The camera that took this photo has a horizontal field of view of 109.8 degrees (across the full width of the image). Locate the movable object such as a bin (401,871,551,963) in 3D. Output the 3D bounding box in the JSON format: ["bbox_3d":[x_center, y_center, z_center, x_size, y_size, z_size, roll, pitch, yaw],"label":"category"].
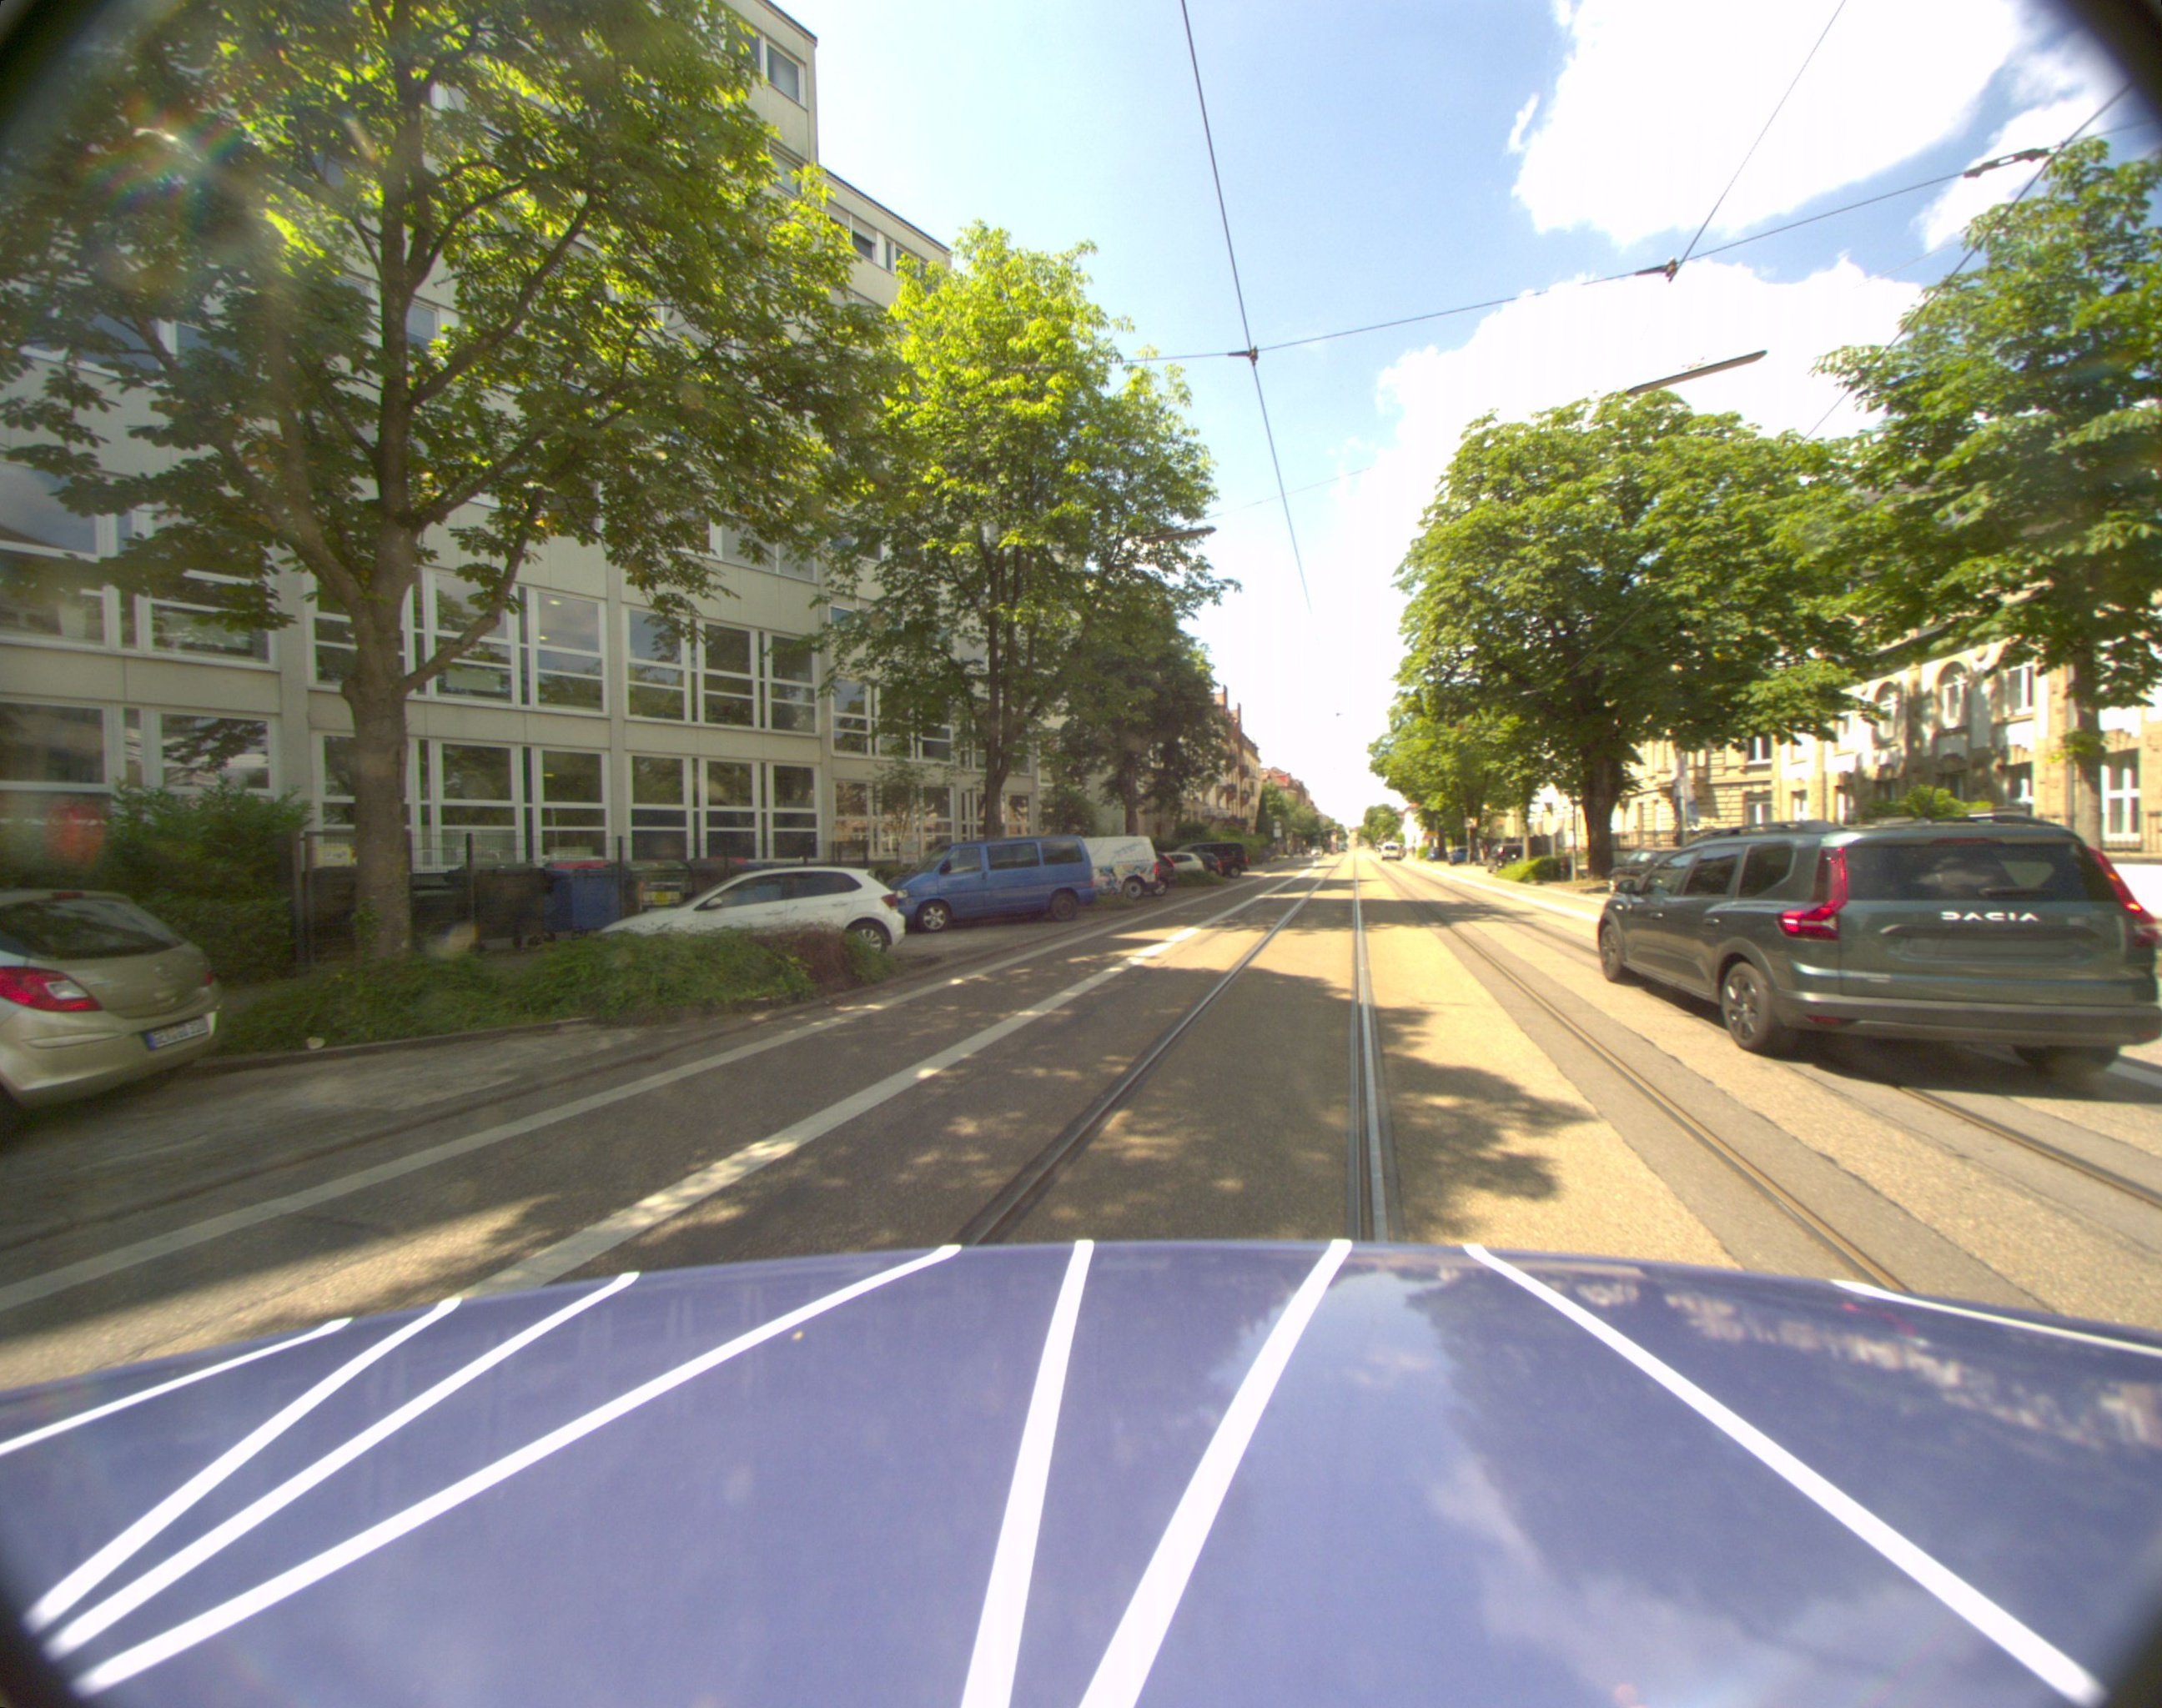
[{"bbox_3d":[-9.639,0.969,12.168,1.124,1.323,1.454,-2,1,21],"label":"movable object such as a bin"}]

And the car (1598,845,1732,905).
[{"bbox_3d":[15.822,0.530,20.837,1.948,1.435,3.778,-2,1,22],"label":"car"}]

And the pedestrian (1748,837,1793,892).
[{"bbox_3d":[19.826,0.291,21.858,0.696,1.558,0.745,-1,1,18],"label":"pedestrian"}]

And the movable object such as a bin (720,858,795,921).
[{"bbox_3d":[-7.583,0.823,17.870,1.035,1.390,1.184,-1,1,28],"label":"movable object such as a bin"}]

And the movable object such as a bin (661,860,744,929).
[{"bbox_3d":[-8.187,0.854,16.460,1.035,1.390,1.184,-1,1,28],"label":"movable object such as a bin"}]

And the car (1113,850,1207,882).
[{"bbox_3d":[3.687,0.544,35.327,4.006,1.379,1.746,1,2,-27],"label":"car"}]

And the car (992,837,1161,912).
[{"bbox_3d":[-0.165,0.546,22.748,4.634,2.002,1.997,-2,1,-18],"label":"car"}]

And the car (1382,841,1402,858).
[{"bbox_3d":[32.001,-0.457,78.233,1.674,1.709,4.005,-1,1,20],"label":"car"}]

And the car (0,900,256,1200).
[{"bbox_3d":[-7.334,1.106,4.046,3.545,1.454,1.750,-2,1,-27],"label":"car"}]

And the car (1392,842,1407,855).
[{"bbox_3d":[44.095,-0.734,105.291,1.760,1.709,4.005,-1,1,20],"label":"car"}]

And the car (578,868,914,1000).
[{"bbox_3d":[-4.558,0.982,10.684,3.986,1.405,1.711,-2,1,-27],"label":"car"}]

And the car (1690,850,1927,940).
[{"bbox_3d":[13.673,0.676,14.648,1.880,1.410,4.156,-2,1,22],"label":"car"}]

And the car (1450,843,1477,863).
[{"bbox_3d":[29.983,-0.103,59.596,1.808,1.470,4.006,-2,1,26],"label":"car"}]

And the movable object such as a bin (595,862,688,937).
[{"bbox_3d":[-8.741,0.882,15.152,1.035,1.390,1.184,-1,1,28],"label":"movable object such as a bin"}]

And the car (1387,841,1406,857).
[{"bbox_3d":[35.040,-0.538,84.400,1.760,1.709,4.005,-1,1,20],"label":"car"}]

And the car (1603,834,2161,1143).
[{"bbox_3d":[5.782,0.701,6.122,1.603,1.642,4.006,0,1,19],"label":"car"}]

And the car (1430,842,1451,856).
[{"bbox_3d":[39.437,-0.519,83.430,1.834,1.477,4.006,-1,1,21],"label":"car"}]

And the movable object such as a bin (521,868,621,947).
[{"bbox_3d":[-9.157,0.942,13.671,0.969,1.323,1.078,-2,1,21],"label":"movable object such as a bin"}]

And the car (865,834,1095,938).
[{"bbox_3d":[-2.238,0.611,16.905,4.636,2.002,1.996,-2,1,-26],"label":"car"}]

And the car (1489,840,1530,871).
[{"bbox_3d":[23.486,0.056,41.752,1.725,1.605,4.006,-1,1,26],"label":"car"}]

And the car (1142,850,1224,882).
[{"bbox_3d":[5.168,0.611,39.009,3.996,1.499,1.949,-1,1,2],"label":"car"}]

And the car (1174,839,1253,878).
[{"bbox_3d":[7.233,0.230,41.680,3.996,2.002,2.000,-1,1,2],"label":"car"}]

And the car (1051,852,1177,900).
[{"bbox_3d":[1.109,0.701,26.042,4.002,1.477,1.668,-1,1,-15],"label":"car"}]

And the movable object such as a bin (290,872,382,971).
[{"bbox_3d":[-11.301,0.991,11.536,0.765,1.397,0.805,-1,1,34],"label":"movable object such as a bin"}]
